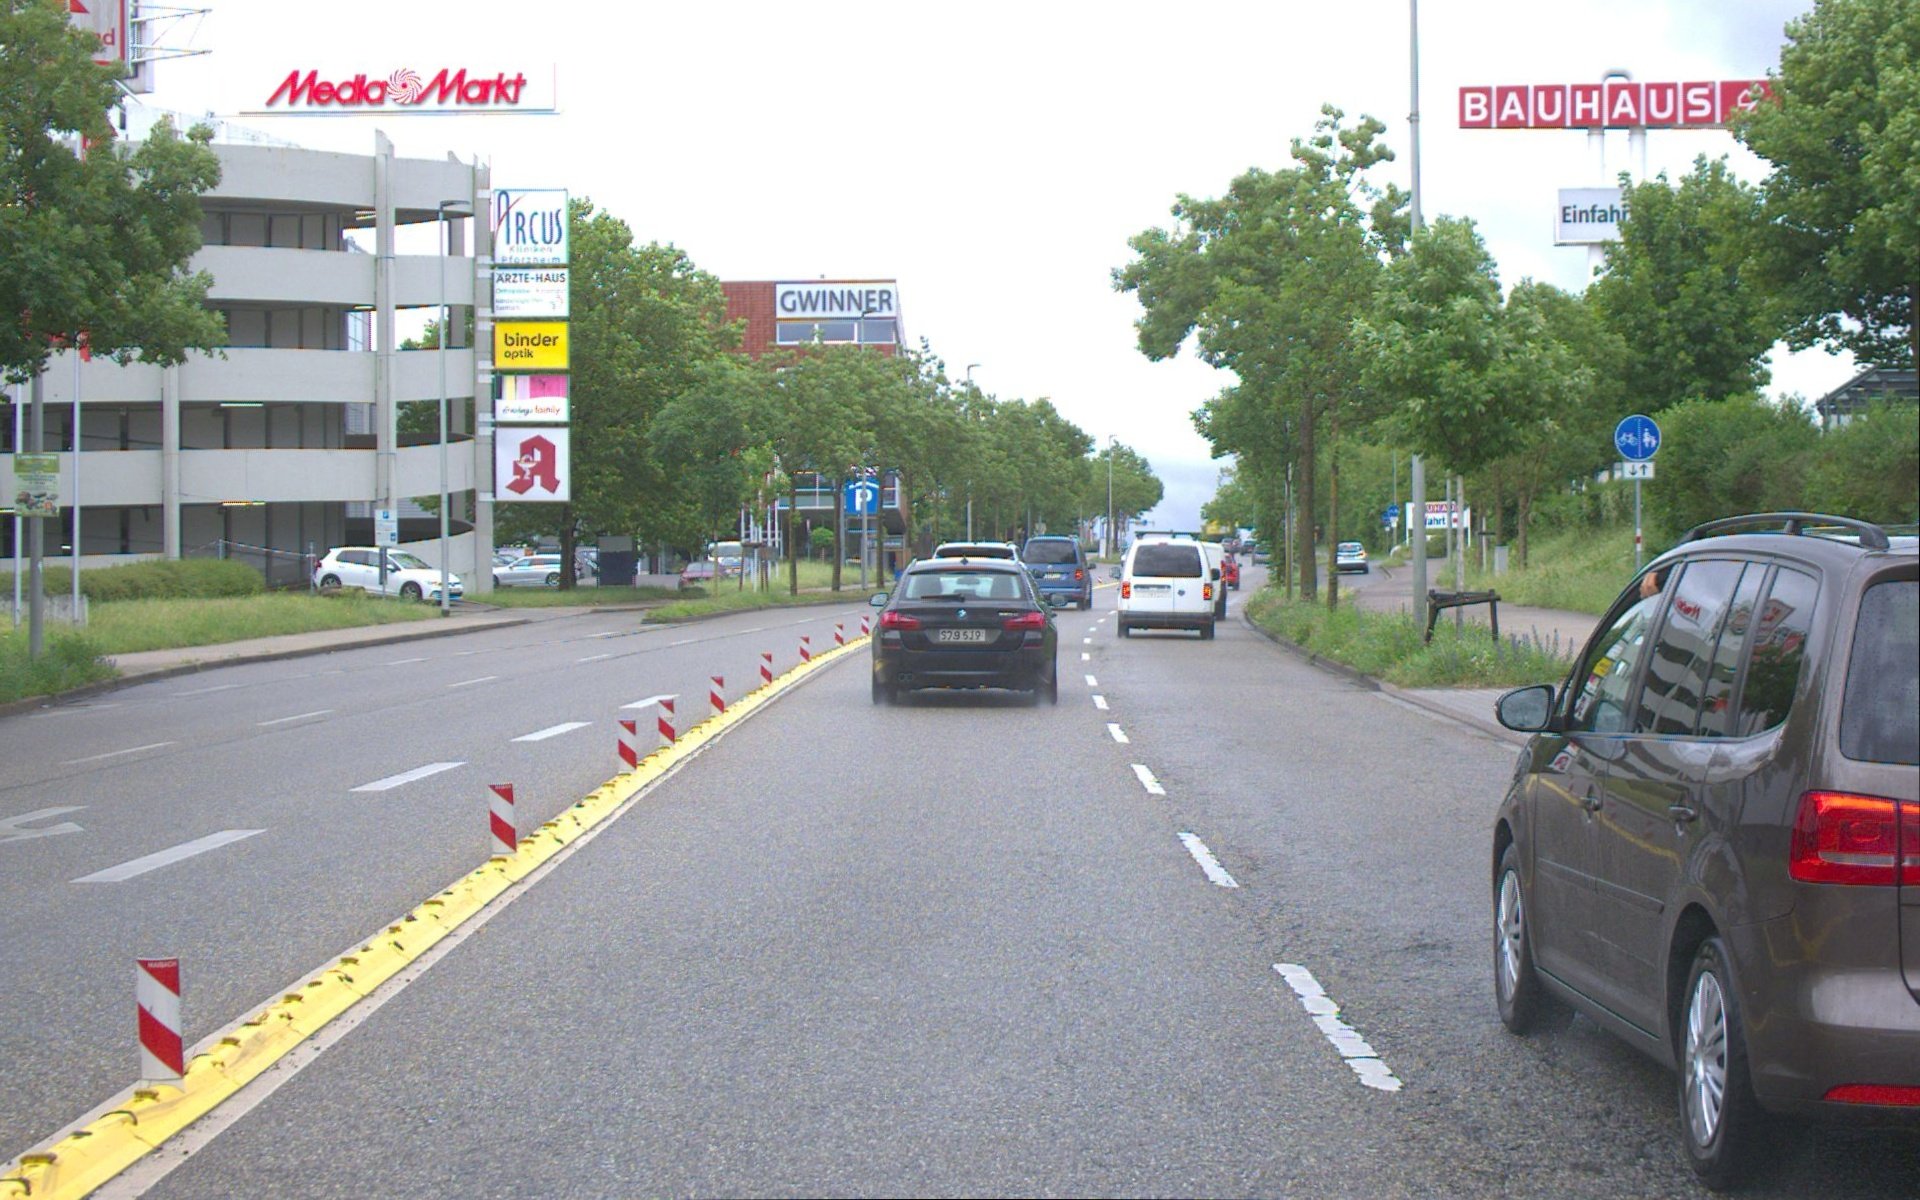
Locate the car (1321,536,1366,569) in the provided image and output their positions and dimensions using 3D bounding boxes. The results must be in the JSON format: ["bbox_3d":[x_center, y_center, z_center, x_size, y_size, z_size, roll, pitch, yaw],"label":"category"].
[{"bbox_3d":[18.317,-2.252,164.350,1.794,1.505,4.000,2,0,2],"label":"car"}]

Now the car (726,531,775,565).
[{"bbox_3d":[-11.605,-2.886,190.544,2.138,1.767,4.608,1,2,3],"label":"car"}]

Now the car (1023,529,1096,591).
[{"bbox_3d":[2.557,-1.018,88.391,1.794,1.505,4.000,2,0,2],"label":"car"}]

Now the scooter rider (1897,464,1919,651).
[{"bbox_3d":[9.613,-0.424,33.335,0.695,1.814,0.858,-2,1,-6],"label":"scooter rider"}]

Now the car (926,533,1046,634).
[{"bbox_3d":[0.425,-0.264,54.758,1.794,1.505,4.000,2,0,1],"label":"car"}]

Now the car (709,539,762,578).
[{"bbox_3d":[-11.061,-2.046,169.619,2.039,1.756,4.946,1,2,3],"label":"car"}]

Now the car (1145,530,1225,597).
[{"bbox_3d":[5.326,-0.859,81.697,1.794,1.505,4.000,2,0,3],"label":"car"}]

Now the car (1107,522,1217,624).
[{"bbox_3d":[3.662,-0.518,62.818,1.827,1.753,4.000,2,1,1],"label":"car"}]

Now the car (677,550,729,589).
[{"bbox_3d":[-11.575,-1.389,155.202,1.933,1.603,4.712,1,2,1],"label":"car"}]

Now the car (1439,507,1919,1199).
[{"bbox_3d":[2.535,0.623,9.400,1.685,1.576,4.219,2,0,-2],"label":"car"}]

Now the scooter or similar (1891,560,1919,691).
[{"bbox_3d":[9.645,0.237,33.329,0.695,1.259,1.401,-2,1,-6],"label":"scooter or similar"}]

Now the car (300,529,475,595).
[{"bbox_3d":[-16.085,-1.088,96.639,4.415,1.403,1.904,6,4,20],"label":"car"}]

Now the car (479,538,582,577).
[{"bbox_3d":[-20.054,-1.992,160.539,4.598,1.740,1.967,1,2,-2],"label":"car"}]

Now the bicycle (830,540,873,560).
[{"bbox_3d":[-5.920,-2.737,187.723,2.077,0.932,1.093,4,1,10],"label":"bicycle"}]

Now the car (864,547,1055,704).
[{"bbox_3d":[0.019,0.214,35.194,1.827,1.463,4.000,1,1,1],"label":"car"}]
